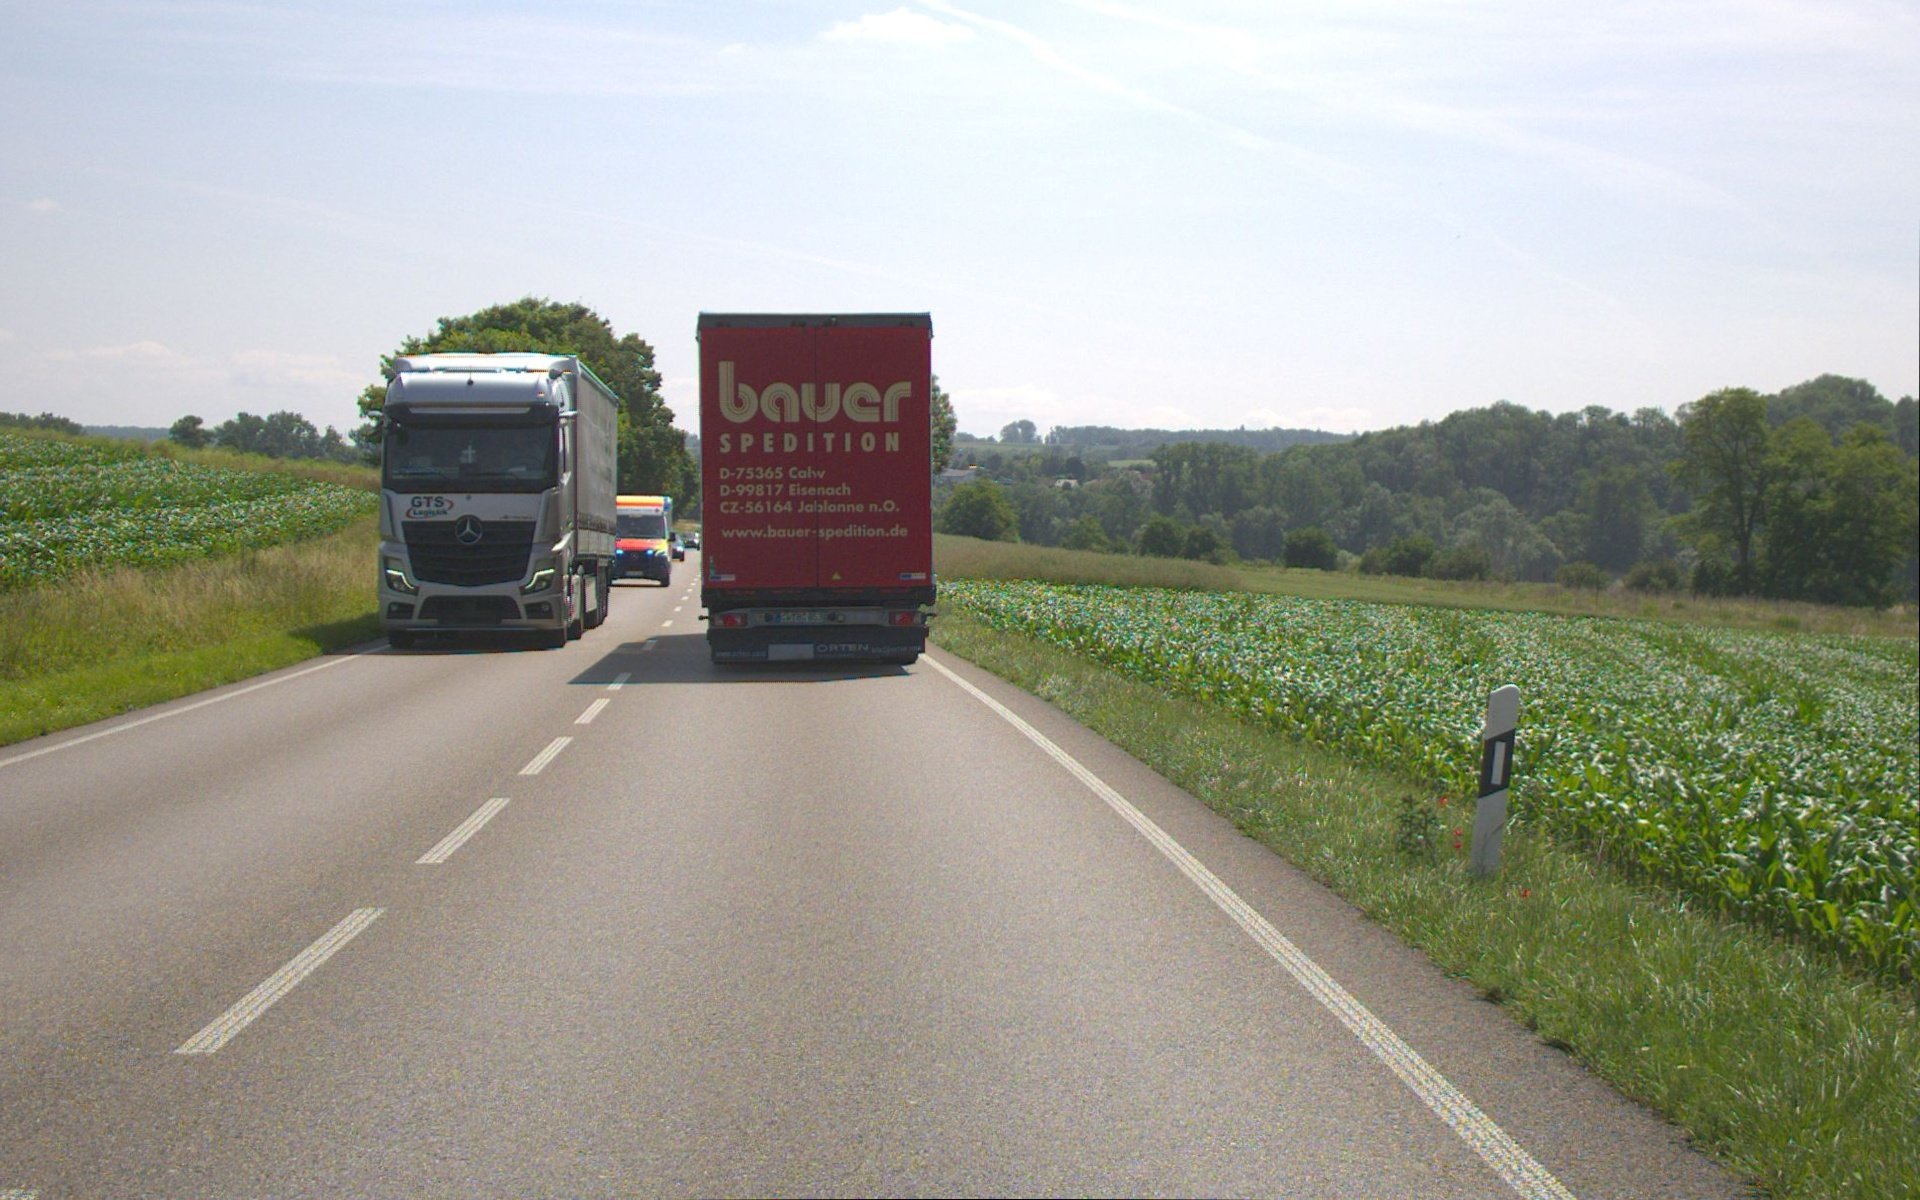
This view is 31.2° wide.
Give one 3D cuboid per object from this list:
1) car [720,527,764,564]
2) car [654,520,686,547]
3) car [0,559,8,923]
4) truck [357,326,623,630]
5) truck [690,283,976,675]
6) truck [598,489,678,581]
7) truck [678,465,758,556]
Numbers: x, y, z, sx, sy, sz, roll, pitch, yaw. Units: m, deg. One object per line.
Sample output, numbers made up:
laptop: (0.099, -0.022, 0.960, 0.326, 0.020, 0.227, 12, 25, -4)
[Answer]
car: (-9.072, -2.272, 143.478, 1.581, 1.496, 3.876, 1, 1, 0)
car: (-15.790, -3.616, 187.267, 1.673, 1.452, 4.351, 0, 1, -4)
car: (-4.580, 0.591, 11.568, 1.728, 1.435, 4.177, 0, 1, -2)
truck: (-6.977, -1.762, 53.406, 2.826, 3.979, 16.536, 0, 1, -3)
truck: (-1.532, -1.346, 41.590, 3.094, 4.248, 8.315, 0, 0, -2)
truck: (-9.549, -1.929, 102.369, 2.207, 2.663, 6.418, 0, 1, -4)
truck: (-12.073, -4.405, 172.729, 3.640, 4.278, 11.986, 0, 0, -2)
